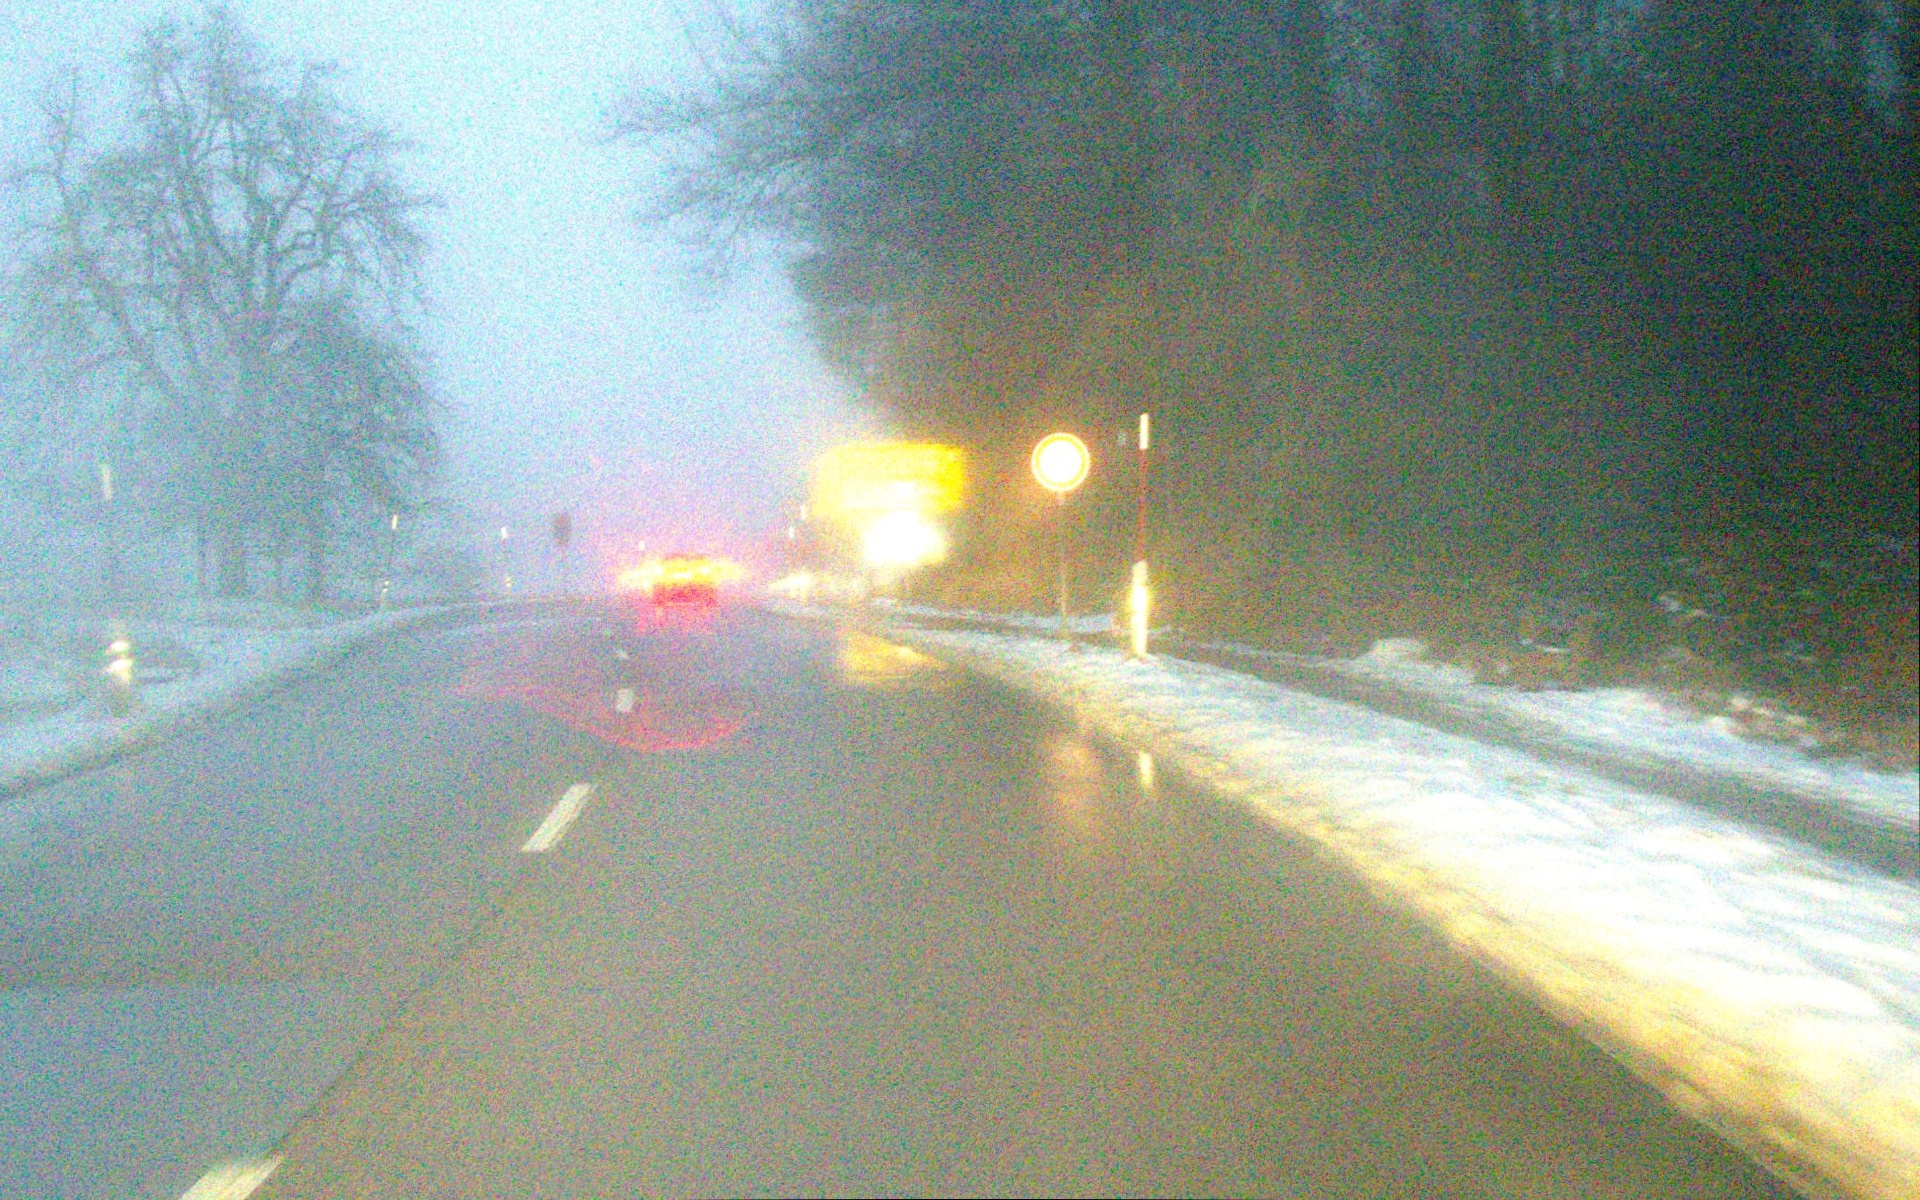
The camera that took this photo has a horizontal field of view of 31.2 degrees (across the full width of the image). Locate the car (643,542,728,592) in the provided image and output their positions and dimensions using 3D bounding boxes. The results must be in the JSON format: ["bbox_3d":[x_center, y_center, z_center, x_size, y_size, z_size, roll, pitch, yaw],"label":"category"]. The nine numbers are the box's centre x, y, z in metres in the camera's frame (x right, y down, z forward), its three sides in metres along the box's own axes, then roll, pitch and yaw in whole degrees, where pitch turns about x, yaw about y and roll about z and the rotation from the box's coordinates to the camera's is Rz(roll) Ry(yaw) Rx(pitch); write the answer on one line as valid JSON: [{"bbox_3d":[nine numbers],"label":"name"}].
[{"bbox_3d":[-7.624,-0.938,95.626,1.922,1.272,4.000,-1,2,1],"label":"car"}]
